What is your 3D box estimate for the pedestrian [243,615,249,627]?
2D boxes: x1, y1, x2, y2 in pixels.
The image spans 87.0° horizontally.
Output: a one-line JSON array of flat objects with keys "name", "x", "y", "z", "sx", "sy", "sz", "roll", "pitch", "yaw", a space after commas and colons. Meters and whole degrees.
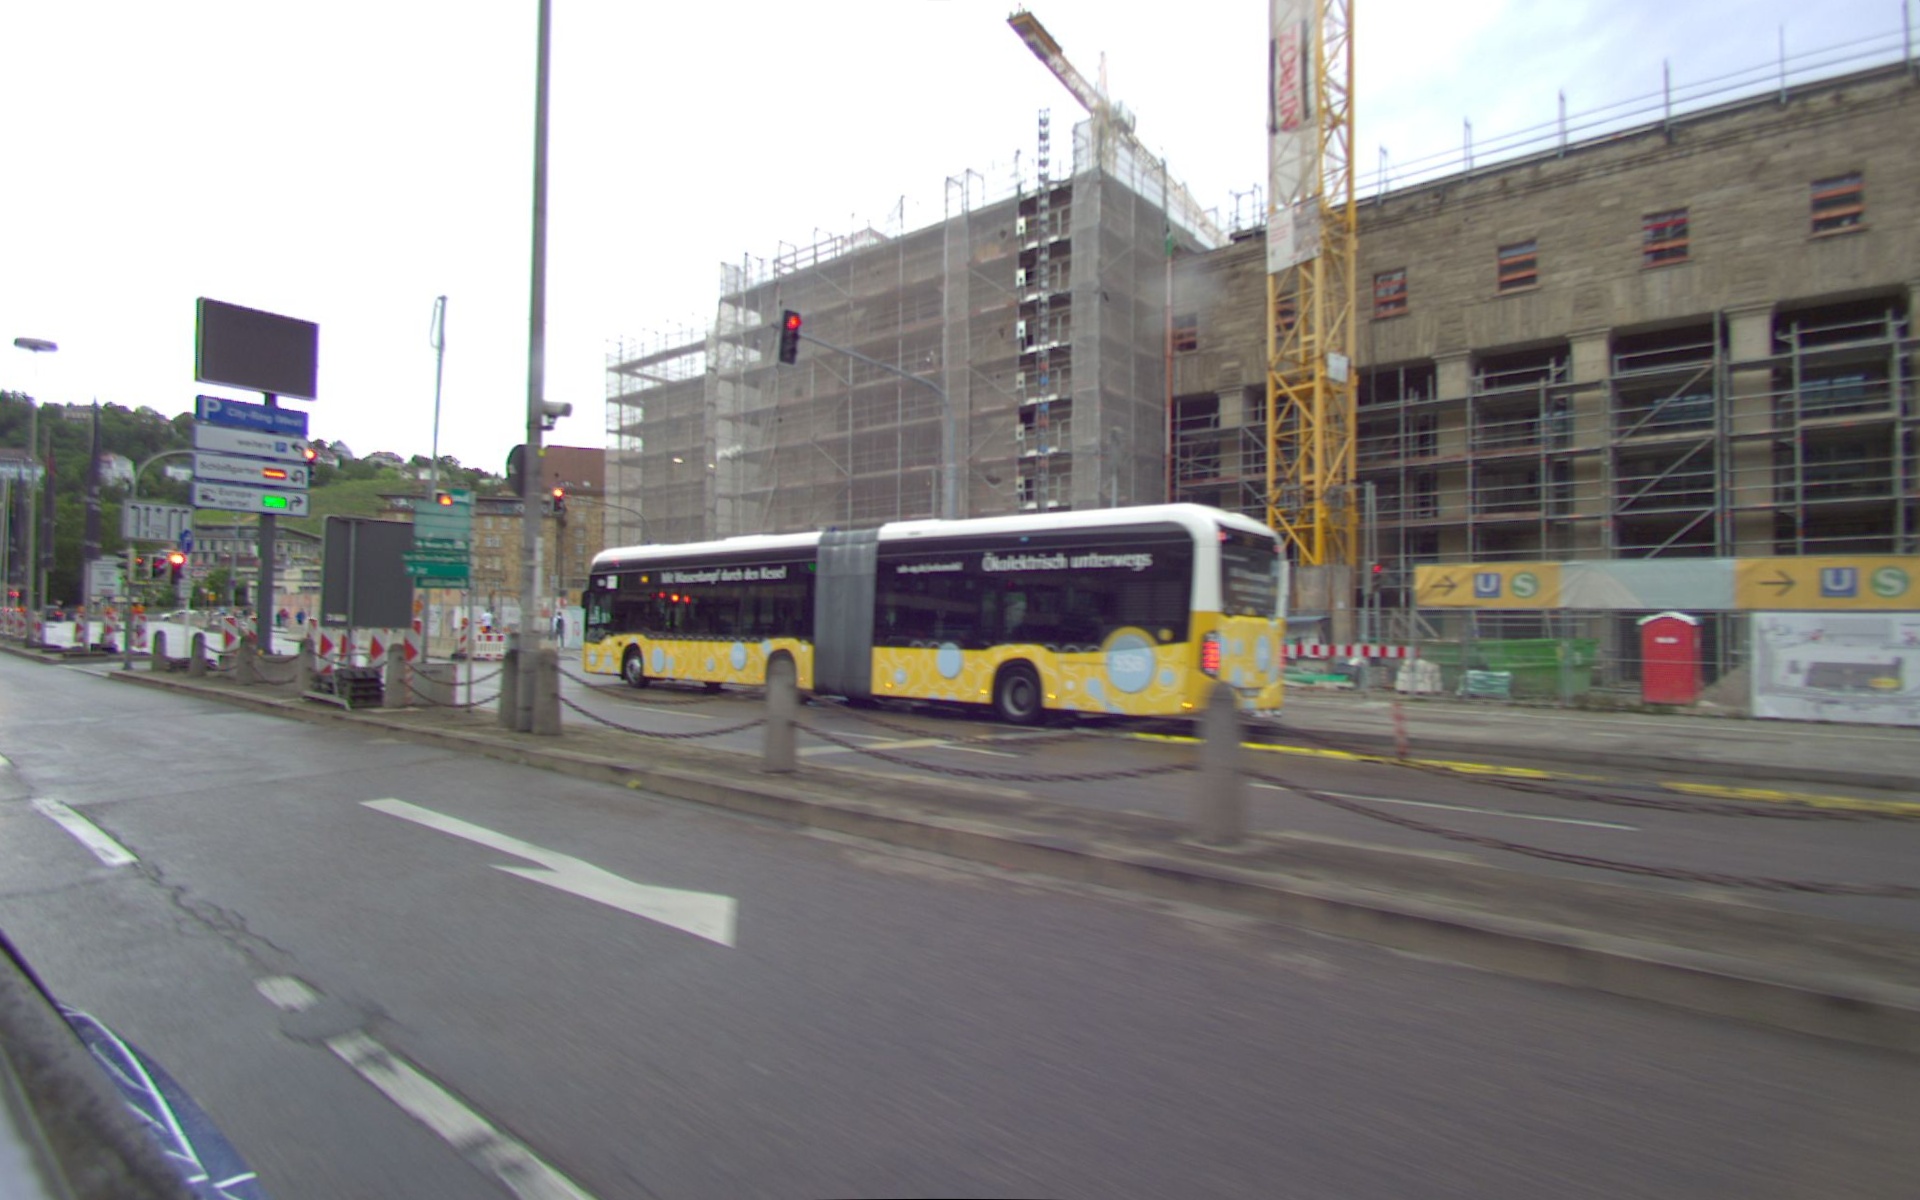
[{"name": "pedestrian", "x": -69.754, "y": 2.059, "z": 98.834, "sx": 0.413, "sy": 1.250, "sz": 0.432, "roll": -2, "pitch": -2, "yaw": 44}]

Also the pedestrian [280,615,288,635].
[{"name": "pedestrian", "x": -54.203, "y": 2.015, "z": 81.177, "sx": 0.413, "sy": 1.628, "sz": 0.433, "roll": -1, "pitch": -2, "yaw": 41}]

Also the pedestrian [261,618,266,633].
[{"name": "pedestrian", "x": -62.166, "y": 2.239, "z": 90.324, "sx": 0.351, "sy": 1.321, "sz": 0.267, "roll": -1, "pitch": -2, "yaw": 41}]

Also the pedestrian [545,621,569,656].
[{"name": "pedestrian", "x": -19.706, "y": 1.866, "z": 49.507, "sx": 0.872, "sy": 1.677, "sz": 0.746, "roll": -1, "pitch": -2, "yaw": 42}]

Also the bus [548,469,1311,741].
[{"name": "bus", "x": -2.613, "y": 0.238, "z": 20.884, "sx": 19.074, "sy": 3.605, "sz": 2.878, "roll": -1, "pitch": -3, "yaw": 42}]

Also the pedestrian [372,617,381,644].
[{"name": "pedestrian", "x": -36.002, "y": 1.870, "z": 62.484, "sx": 0.395, "sy": 1.633, "sz": 0.365, "roll": 1, "pitch": -1, "yaw": -44}]

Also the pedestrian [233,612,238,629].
[{"name": "pedestrian", "x": -70.373, "y": 1.961, "z": 98.291, "sx": 0.357, "sy": 1.628, "sz": 0.370, "roll": -1, "pitch": -2, "yaw": 41}]

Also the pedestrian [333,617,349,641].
[{"name": "pedestrian", "x": -42.768, "y": 2.009, "z": 69.936, "sx": 0.617, "sy": 1.698, "sz": 0.796, "roll": -1, "pitch": -2, "yaw": 44}]

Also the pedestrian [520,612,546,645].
[{"name": "pedestrian", "x": -20.655, "y": 1.391, "z": 48.943, "sx": 0.709, "sy": 1.579, "sz": 0.941, "roll": -1, "pitch": -2, "yaw": 42}]

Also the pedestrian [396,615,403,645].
[{"name": "pedestrian", "x": -34.529, "y": 1.844, "z": 62.360, "sx": 0.268, "sy": 1.783, "sz": 0.310, "roll": -1, "pitch": -1, "yaw": 44}]

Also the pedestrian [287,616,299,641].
[{"name": "pedestrian", "x": -53.800, "y": 2.314, "z": 81.647, "sx": 0.685, "sy": 2.049, "sz": 0.585, "roll": -1, "pitch": -2, "yaw": 41}]

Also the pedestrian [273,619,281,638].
[{"name": "pedestrian", "x": -57.507, "y": 2.393, "z": 85.201, "sx": 0.413, "sy": 1.628, "sz": 0.433, "roll": -1, "pitch": -2, "yaw": 41}]

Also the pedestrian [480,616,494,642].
[{"name": "pedestrian", "x": -26.181, "y": 1.615, "z": 55.995, "sx": 0.557, "sy": 1.454, "sz": 0.529, "roll": 2, "pitch": -2, "yaw": -42}]

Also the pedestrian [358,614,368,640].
[{"name": "pedestrian", "x": -41.732, "y": 1.869, "z": 70.751, "sx": 0.463, "sy": 1.768, "sz": 0.510, "roll": -1, "pitch": -1, "yaw": 41}]
